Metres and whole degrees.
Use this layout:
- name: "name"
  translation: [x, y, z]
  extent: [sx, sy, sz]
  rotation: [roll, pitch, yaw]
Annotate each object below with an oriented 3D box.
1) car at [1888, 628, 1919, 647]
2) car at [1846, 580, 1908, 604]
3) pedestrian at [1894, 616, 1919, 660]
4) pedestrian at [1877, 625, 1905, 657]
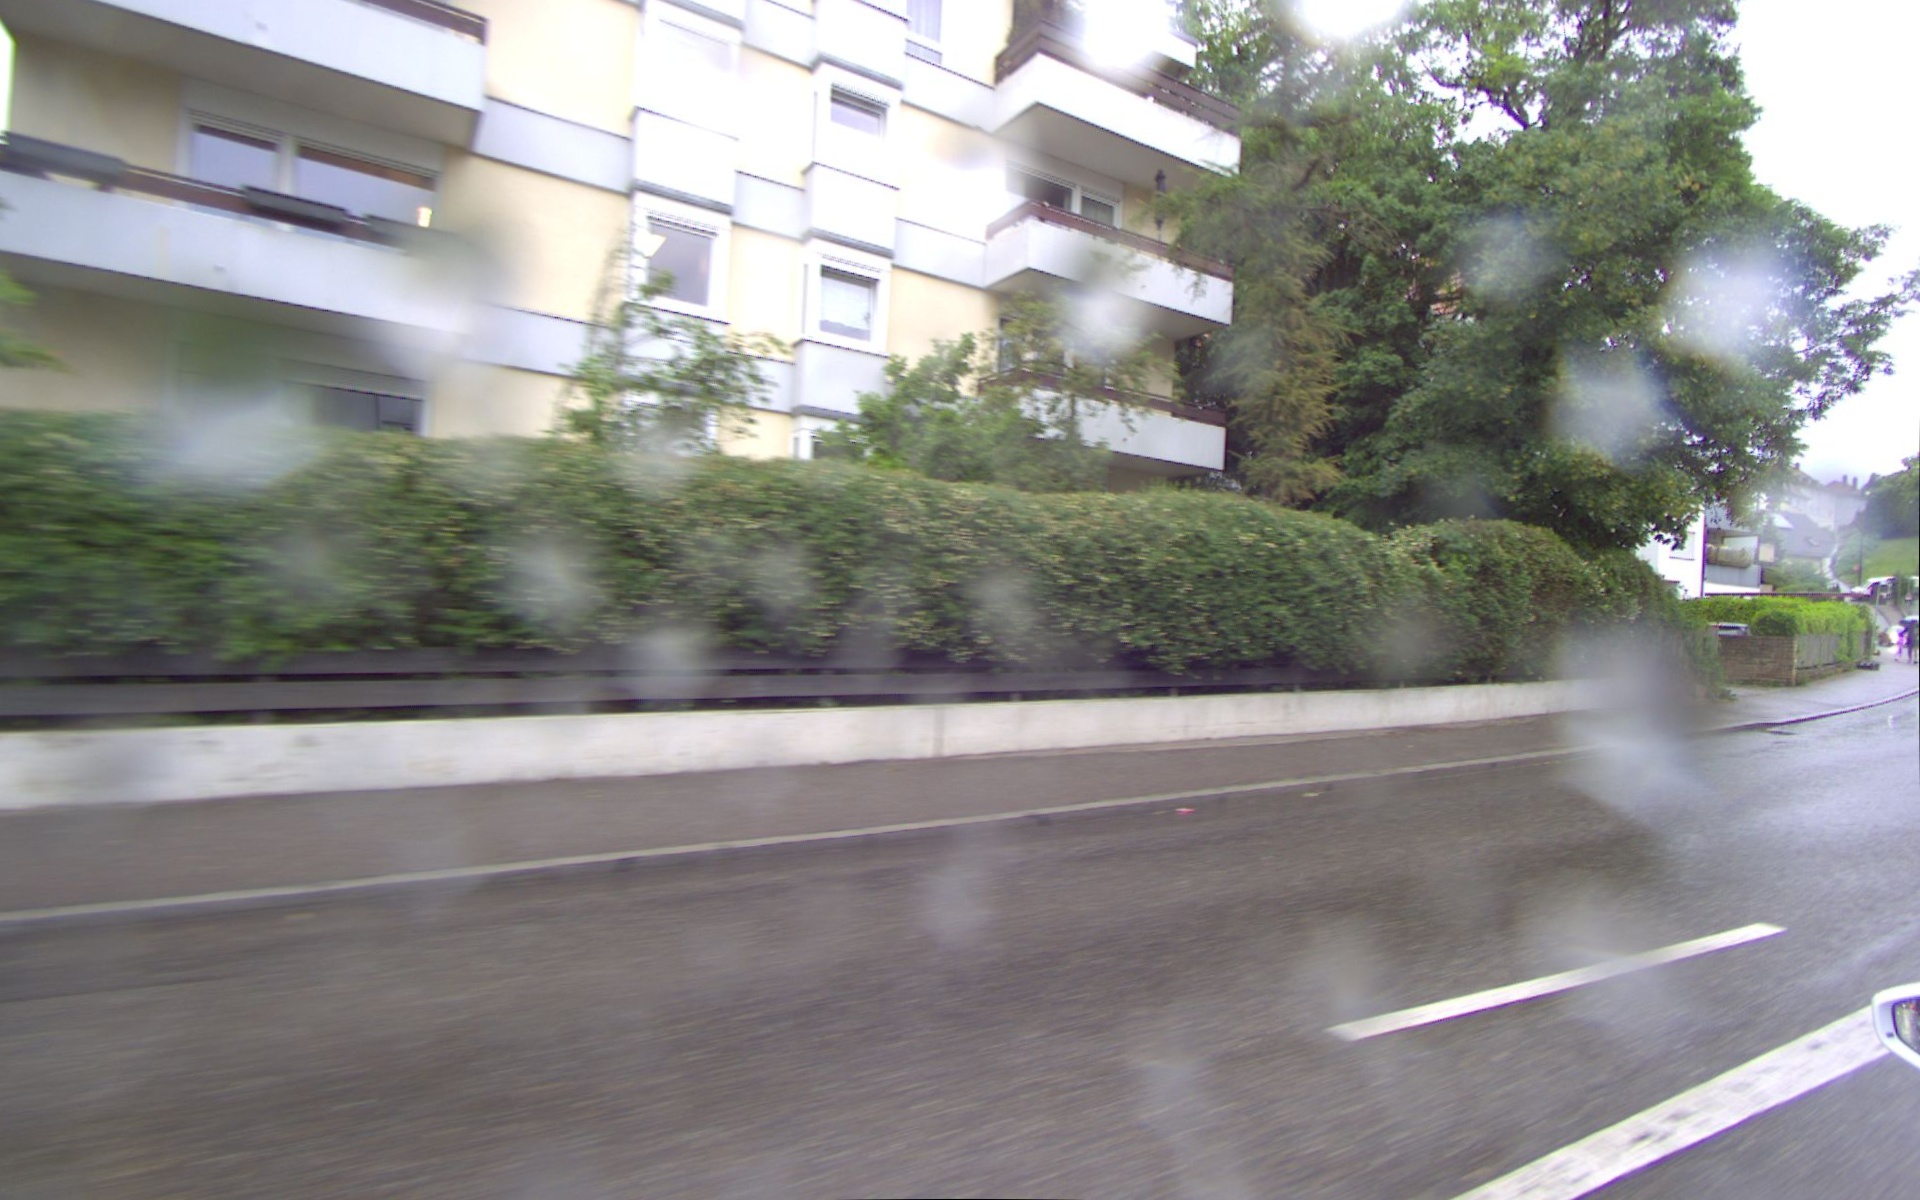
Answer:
- name: "car"
  translation: [62.511, 2.469, 66.188]
  extent: [3.971, 1.161, 1.663]
  rotation: [1, 0, -43]
- name: "car"
  translation: [102.774, -0.892, 112.666]
  extent: [4.874, 2.603, 1.899]
  rotation: [-1, -1, 33]
- name: "pedestrian"
  translation: [37.366, 1.483, 39.523]
  extent: [1.033, 1.666, 0.748]
  rotation: [1, 3, -45]
- name: "pedestrian"
  translation: [37.963, 1.659, 40.958]
  extent: [1.033, 1.196, 0.748]
  rotation: [1, 3, -45]
